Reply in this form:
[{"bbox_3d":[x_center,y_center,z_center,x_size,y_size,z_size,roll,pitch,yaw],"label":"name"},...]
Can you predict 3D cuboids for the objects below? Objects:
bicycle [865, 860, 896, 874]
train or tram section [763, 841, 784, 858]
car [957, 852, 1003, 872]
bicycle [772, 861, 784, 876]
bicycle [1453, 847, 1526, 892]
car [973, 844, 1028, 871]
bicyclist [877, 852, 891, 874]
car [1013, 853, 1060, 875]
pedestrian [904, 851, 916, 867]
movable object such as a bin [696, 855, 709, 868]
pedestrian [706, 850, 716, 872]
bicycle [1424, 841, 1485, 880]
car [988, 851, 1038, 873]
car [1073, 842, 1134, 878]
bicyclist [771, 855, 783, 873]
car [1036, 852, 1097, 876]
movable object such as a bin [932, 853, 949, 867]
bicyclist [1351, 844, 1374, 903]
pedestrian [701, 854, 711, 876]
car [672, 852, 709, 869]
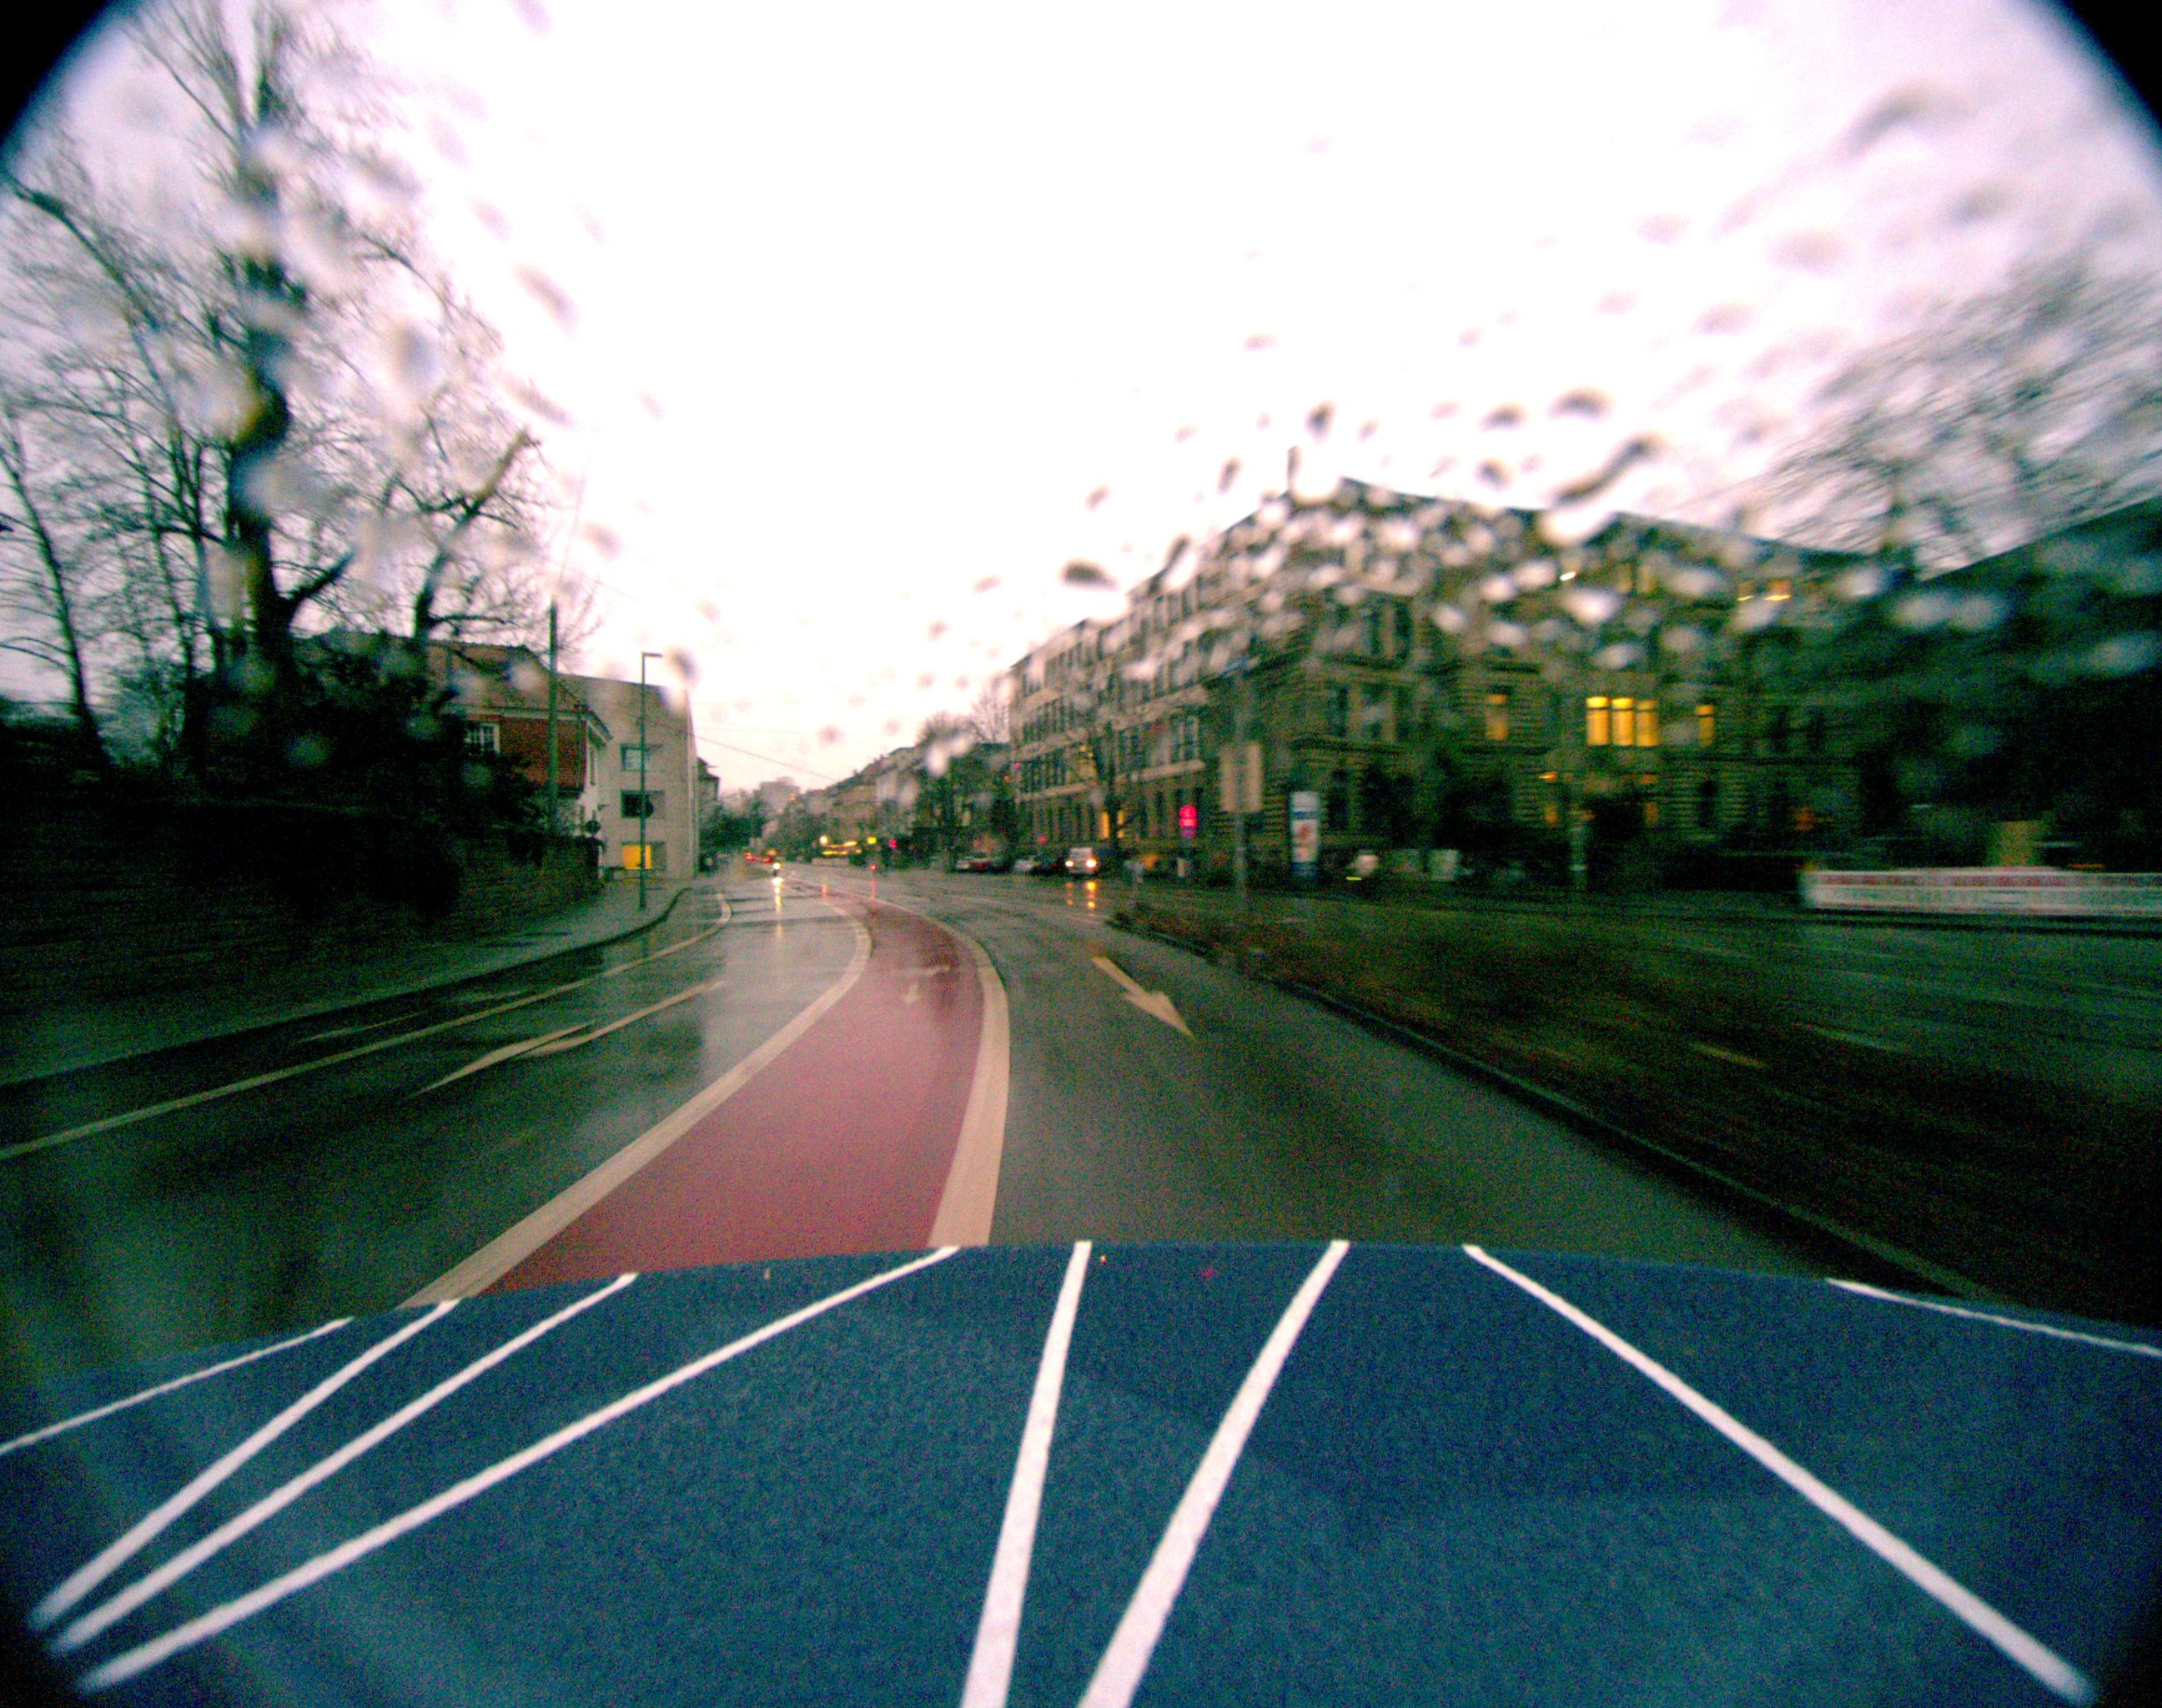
[{"bbox_3d":[-14.856,0.943,56.324,2.124,0.939,0.942,-3,2,-22],"label":"bicycle"},{"bbox_3d":[-76.258,-1.082,187.824,2.891,3.716,27.272,-3,2,-26],"label":"train or tram section"},{"bbox_3d":[-9.348,0.721,70.359,1.770,1.582,4.192,-1,2,35],"label":"car"},{"bbox_3d":[-23.818,1.144,59.804,0.725,1.084,2.282,-2,0,-18],"label":"bicycle"},{"bbox_3d":[15.919,0.603,29.681,2.423,1.679,0.714,-2,2,25],"label":"bicycle"},{"bbox_3d":[-6.823,0.313,65.046,1.960,2.042,4.630,-1,2,37],"label":"car"},{"bbox_3d":[-14.605,0.639,56.341,0.857,1.586,0.779,0,1,-21],"label":"bicyclist"},{"bbox_3d":[-3.311,0.718,57.645,1.633,1.449,3.833,-1,2,31],"label":"car"},{"bbox_3d":[-18.996,0.547,84.375,0.945,1.693,0.925,-1,3,42],"label":"pedestrian"},{"bbox_3d":[-41.371,0.800,83.048,1.262,1.437,1.416,-1,1,-26],"label":"movable object such as a bin"},{"bbox_3d":[-30.911,0.571,63.483,0.659,1.849,0.658,0,1,-24],"label":"pedestrian"},{"bbox_3d":[16.950,0.289,34.556,2.423,1.679,0.714,-2,2,25],"label":"bicycle"},{"bbox_3d":[-5.531,0.650,62.106,1.818,1.531,3.983,-1,2,37],"label":"car"},{"bbox_3d":[1.496,0.334,47.779,1.908,2.022,4.811,-1,2,27],"label":"car"},{"bbox_3d":[-23.983,0.805,59.945,0.718,1.335,0.718,-3,2,-19],"label":"bicyclist"},{"bbox_3d":[-0.955,0.674,53.093,1.795,1.449,4.485,-1,2,38],"label":"car"},{"bbox_3d":[-14.913,0.630,80.517,1.341,1.456,0.987,-1,2,27],"label":"movable object such as a bin"},{"bbox_3d":[8.671,0.598,23.419,0.611,1.758,0.590,-2,2,18],"label":"bicyclist"},{"bbox_3d":[-31.269,0.913,63.351,0.774,1.848,0.717,0,1,-24],"label":"pedestrian"},{"bbox_3d":[-42.451,0.668,82.702,3.465,1.638,1.728,-3,2,-26],"label":"car"}]
